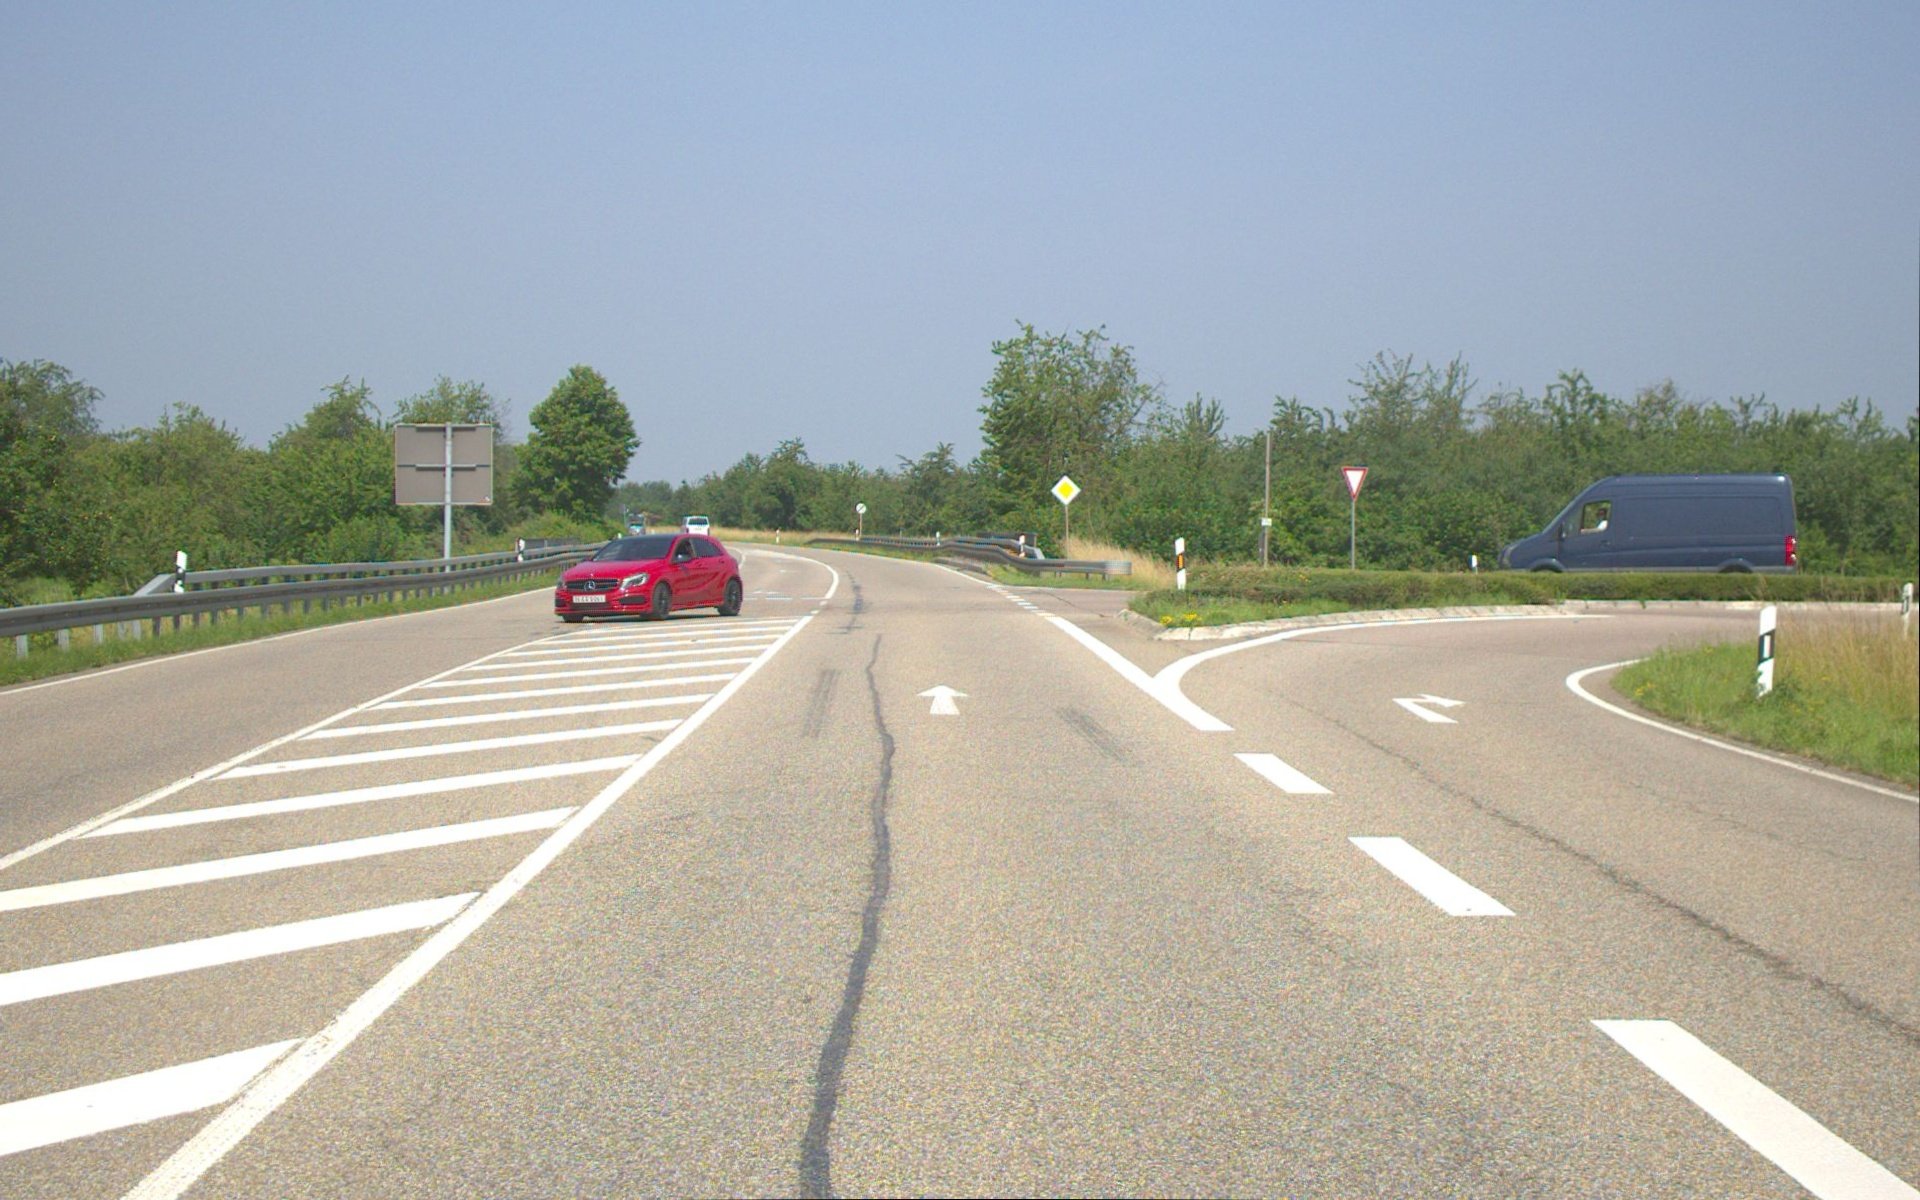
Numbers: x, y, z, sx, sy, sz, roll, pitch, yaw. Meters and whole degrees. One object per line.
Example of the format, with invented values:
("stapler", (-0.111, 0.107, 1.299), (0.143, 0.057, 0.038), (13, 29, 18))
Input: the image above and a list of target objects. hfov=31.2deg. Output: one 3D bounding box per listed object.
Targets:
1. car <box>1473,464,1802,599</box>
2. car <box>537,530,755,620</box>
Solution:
("car", (13.465, -1.351, 68.447), (6.295, 2.566, 2.061), (-1, 1, 12))
("car", (-5.161, -0.437, 57.189), (1.817, 1.444, 4.490), (0, 1, 21))
